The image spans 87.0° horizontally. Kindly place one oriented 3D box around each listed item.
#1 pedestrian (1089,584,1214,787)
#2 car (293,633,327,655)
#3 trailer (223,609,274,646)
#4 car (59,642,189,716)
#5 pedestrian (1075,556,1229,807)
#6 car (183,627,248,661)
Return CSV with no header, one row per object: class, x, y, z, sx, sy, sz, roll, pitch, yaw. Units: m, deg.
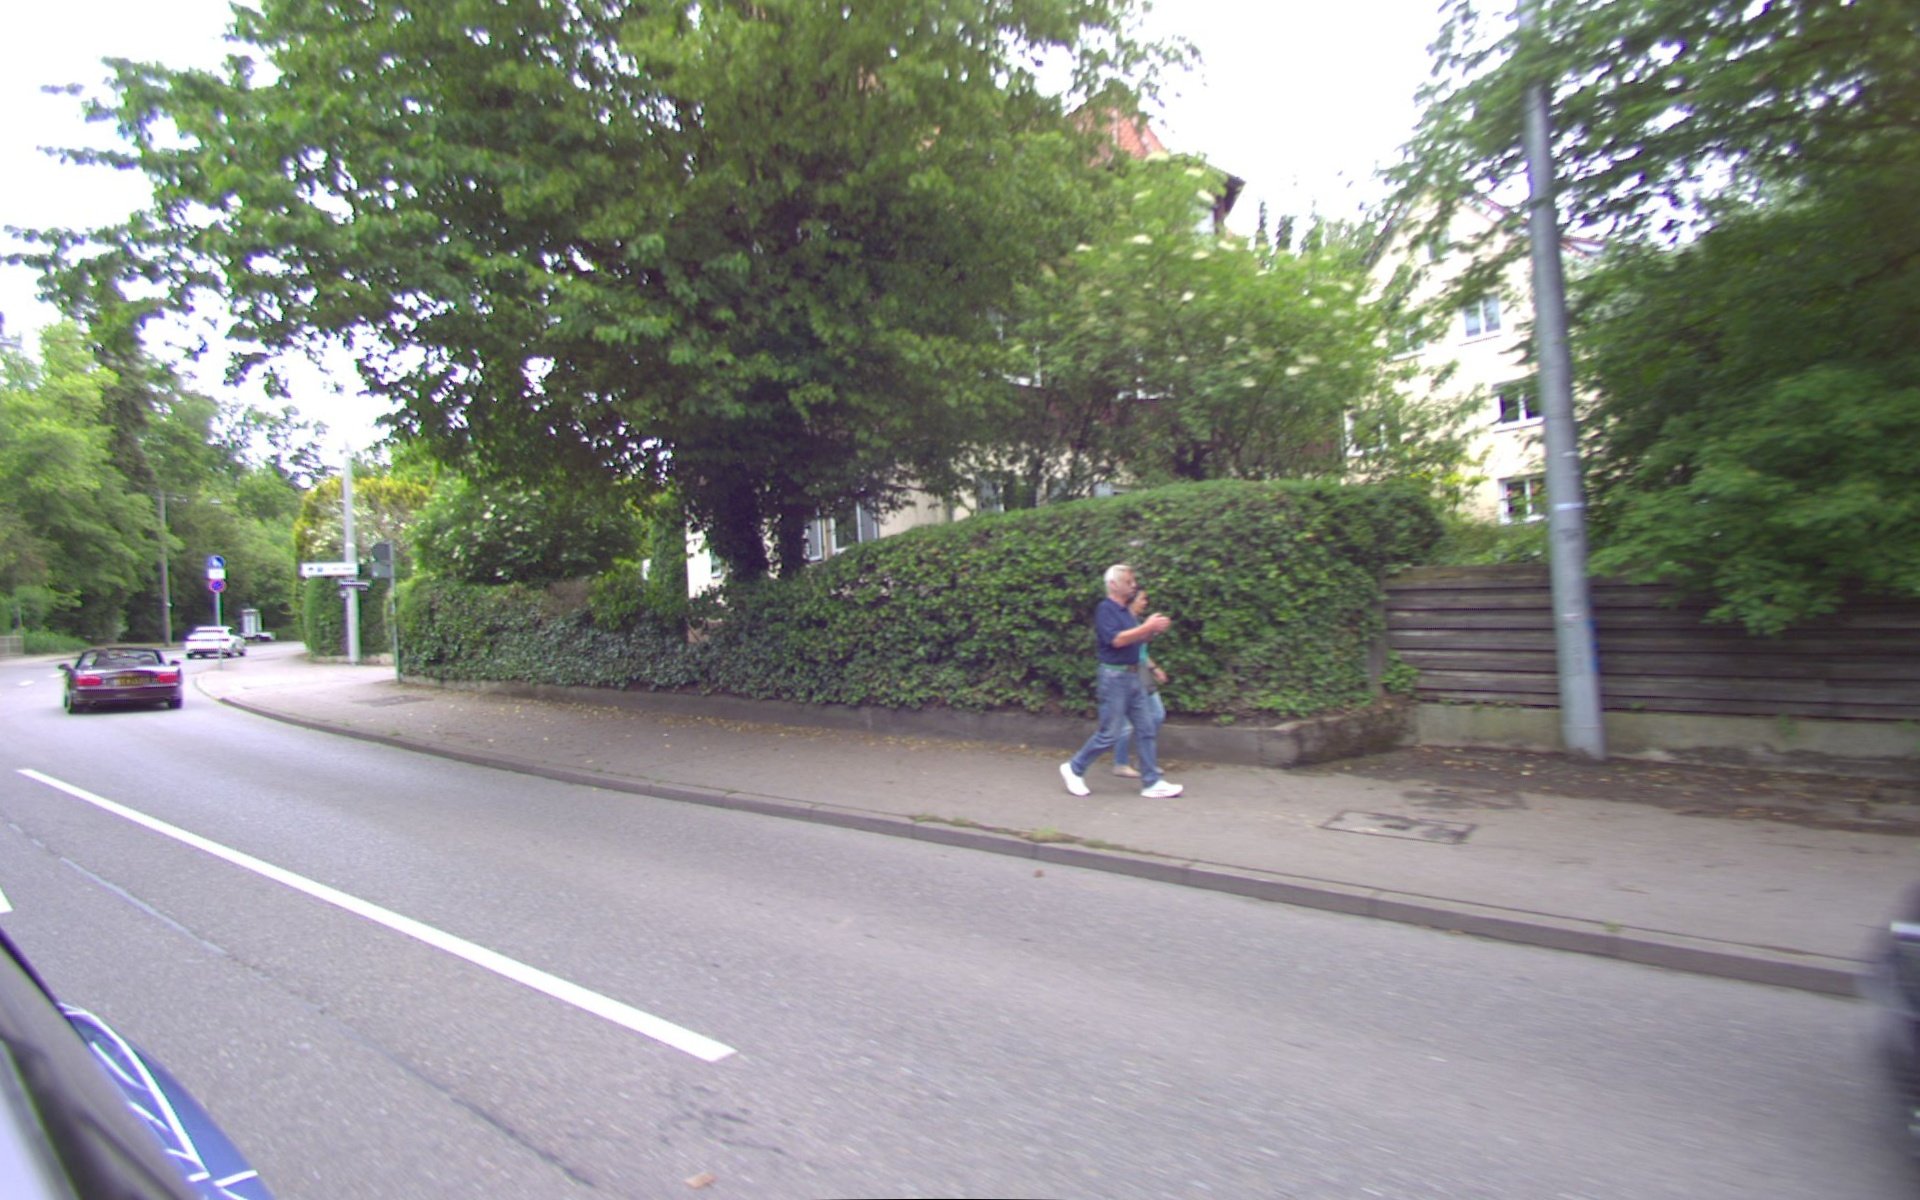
pedestrian,1.492,0.628,7.831,0.753,1.460,0.665,-2,2,26
car,-44.233,2.985,68.834,1.887,1.409,3.919,0,-1,-34
trailer,-58.922,2.272,83.853,3.073,2.921,1.598,-2,0,-17
car,-16.038,1.438,19.349,1.671,1.186,3.790,0,-2,-43
pedestrian,1.376,0.544,7.226,0.915,1.674,0.625,-1,0,27
car,-35.046,2.052,47.753,1.782,1.454,4.212,0,-1,-27
